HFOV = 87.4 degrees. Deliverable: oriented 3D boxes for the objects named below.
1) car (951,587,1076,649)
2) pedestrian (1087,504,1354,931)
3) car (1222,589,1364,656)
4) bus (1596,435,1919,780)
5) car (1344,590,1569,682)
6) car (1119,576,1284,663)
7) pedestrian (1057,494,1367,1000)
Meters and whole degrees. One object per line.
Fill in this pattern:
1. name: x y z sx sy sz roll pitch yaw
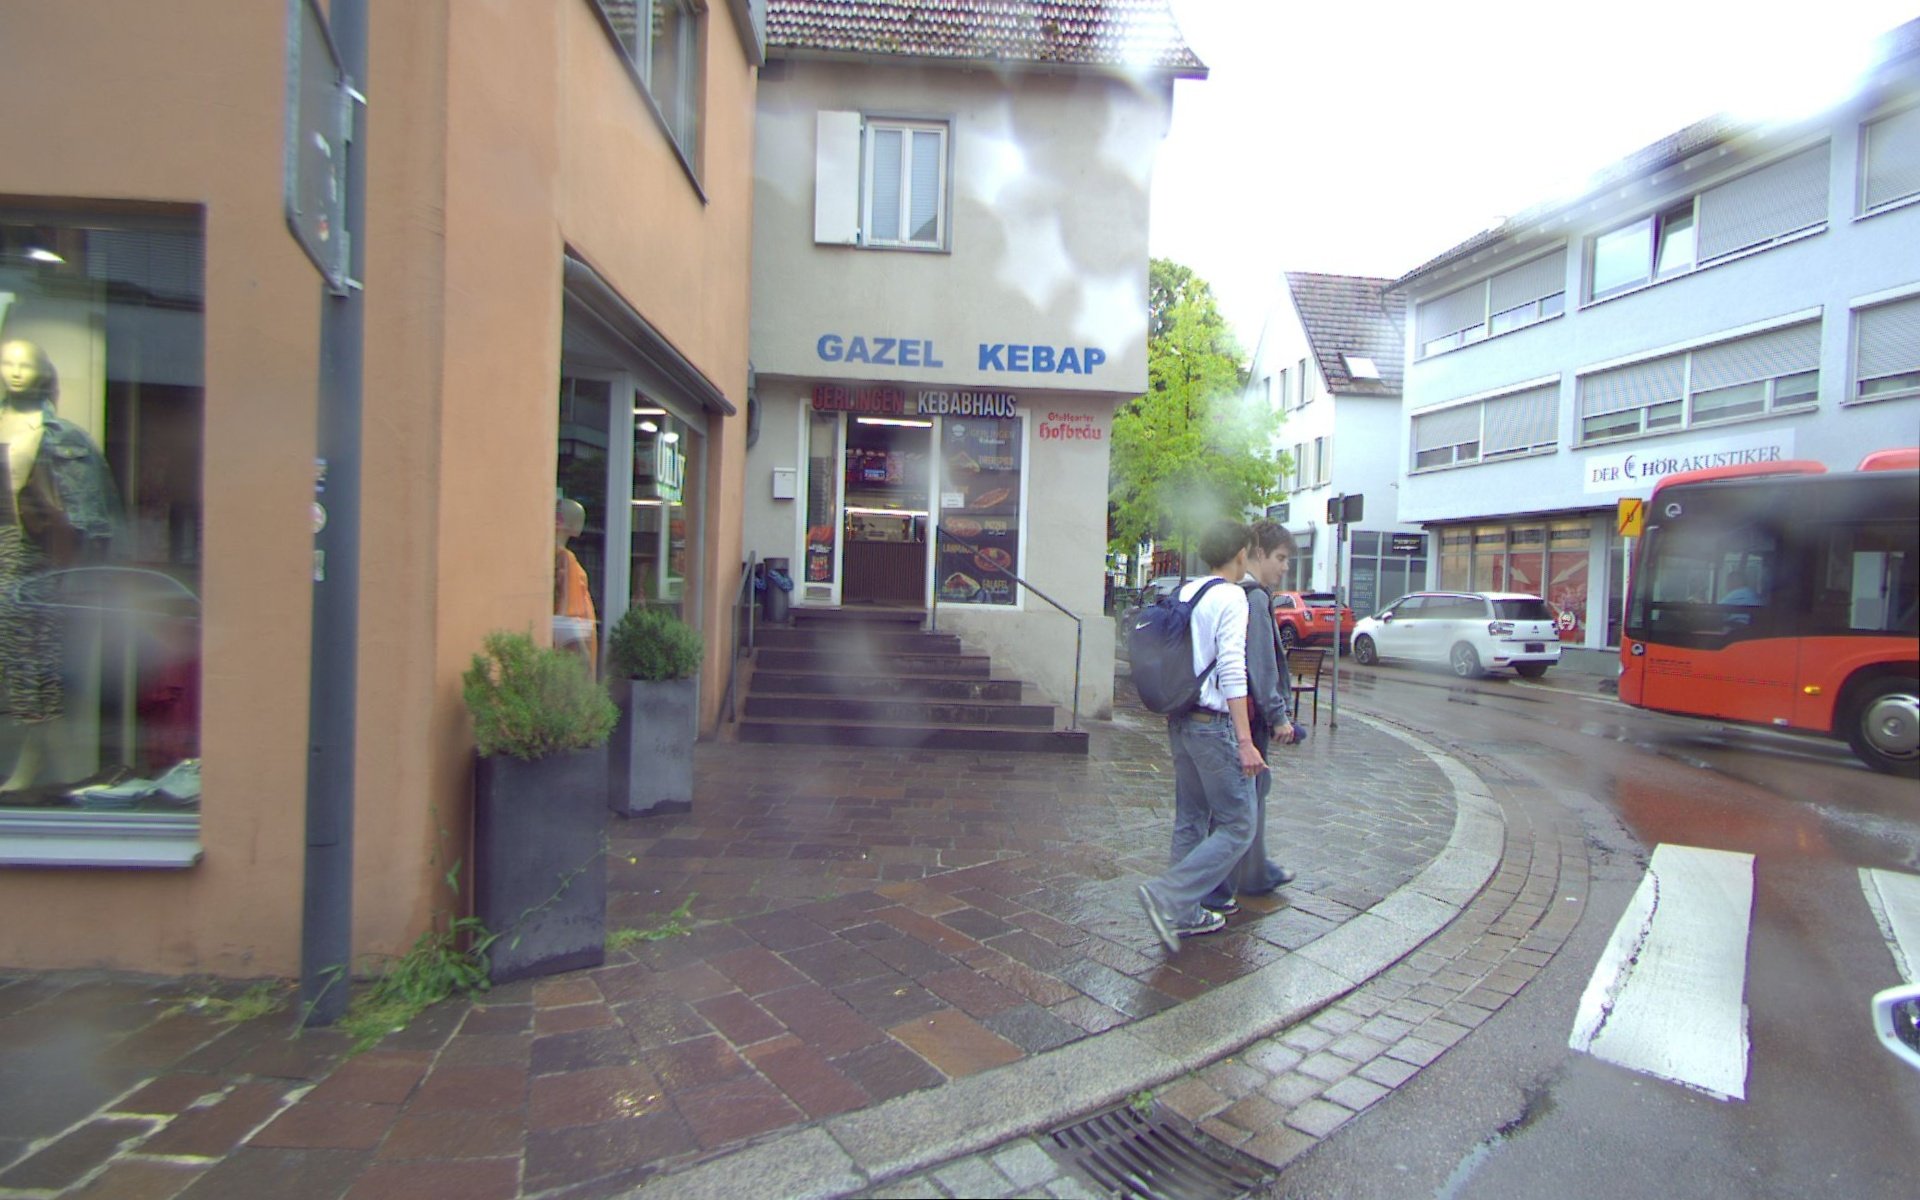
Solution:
1. car: 1.381 0.450 27.516 1.704 1.433 3.955 3 1 -25
2. pedestrian: 1.177 0.511 4.736 1.037 1.824 0.694 2 0 3
3. car: 8.455 0.524 25.859 1.654 1.549 3.787 0 1 -15
4. bus: 11.034 0.131 7.628 2.785 3.130 10.534 1 1 -27
5. car: 10.009 0.652 20.646 1.666 1.634 4.210 1 1 -17
6. car: 5.685 0.383 24.331 1.920 1.805 4.712 0 2 -14
7. pedestrian: 0.960 0.540 4.051 1.040 1.831 0.666 2 0 3
